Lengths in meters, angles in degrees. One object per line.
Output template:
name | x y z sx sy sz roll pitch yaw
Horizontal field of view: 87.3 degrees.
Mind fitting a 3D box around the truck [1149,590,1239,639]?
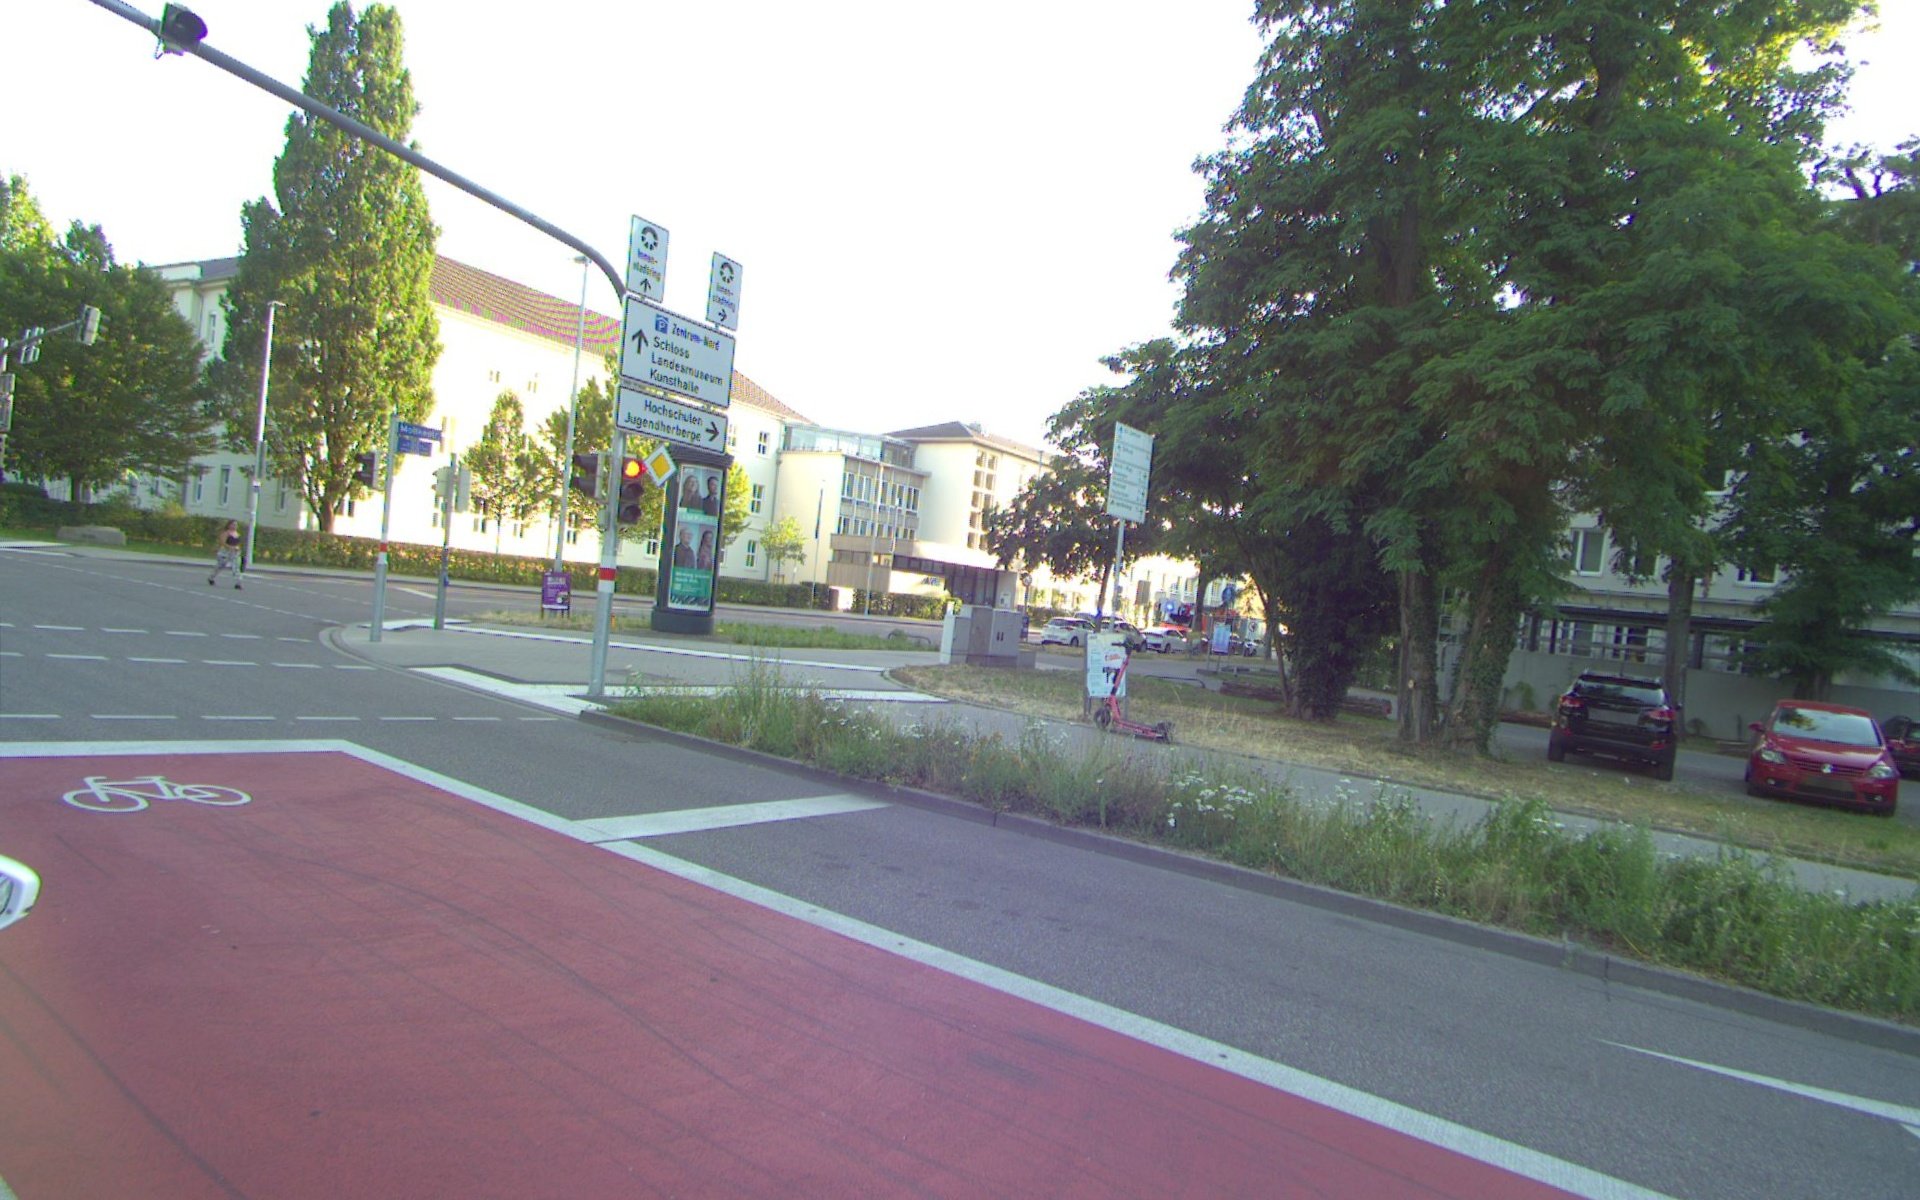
truck | 15.860 1.057 67.463 2.327 2.315 10.049 7 -1 34

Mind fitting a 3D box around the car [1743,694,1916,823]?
car | 13.992 2.451 16.403 1.759 1.581 3.984 7 0 38

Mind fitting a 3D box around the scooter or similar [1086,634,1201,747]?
scooter or similar | 2.327 1.132 12.808 1.289 1.247 0.311 7 1 32

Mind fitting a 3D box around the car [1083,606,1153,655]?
car | 8.065 1.580 51.188 1.713 2.038 3.988 7 -1 36

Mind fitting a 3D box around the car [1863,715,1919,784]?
car | 23.178 3.618 24.033 1.873 1.459 3.987 7 -1 37

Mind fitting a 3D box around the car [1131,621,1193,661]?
car | 11.073 2.265 55.105 1.720 1.783 3.989 7 -1 35

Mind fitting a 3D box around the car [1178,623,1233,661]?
car | 14.606 2.491 59.729 1.698 1.879 3.989 7 -1 35

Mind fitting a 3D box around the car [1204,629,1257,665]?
car | 17.222 3.027 63.858 1.789 1.893 4.136 7 -1 35

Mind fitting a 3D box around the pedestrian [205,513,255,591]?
pedestrian | -16.653 -1.093 22.953 0.681 1.656 0.599 8 1 37

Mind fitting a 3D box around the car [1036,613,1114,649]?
car | 5.477 1.488 47.708 1.793 1.358 3.985 6 0 37

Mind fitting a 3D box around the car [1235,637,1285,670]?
car | 20.371 3.653 68.236 1.873 1.831 3.988 7 -1 36

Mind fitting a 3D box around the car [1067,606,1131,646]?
car | 7.683 1.464 55.337 1.720 1.783 3.989 7 -1 35

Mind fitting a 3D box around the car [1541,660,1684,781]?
car | 11.763 2.107 18.064 1.808 1.715 3.899 7 -1 36
